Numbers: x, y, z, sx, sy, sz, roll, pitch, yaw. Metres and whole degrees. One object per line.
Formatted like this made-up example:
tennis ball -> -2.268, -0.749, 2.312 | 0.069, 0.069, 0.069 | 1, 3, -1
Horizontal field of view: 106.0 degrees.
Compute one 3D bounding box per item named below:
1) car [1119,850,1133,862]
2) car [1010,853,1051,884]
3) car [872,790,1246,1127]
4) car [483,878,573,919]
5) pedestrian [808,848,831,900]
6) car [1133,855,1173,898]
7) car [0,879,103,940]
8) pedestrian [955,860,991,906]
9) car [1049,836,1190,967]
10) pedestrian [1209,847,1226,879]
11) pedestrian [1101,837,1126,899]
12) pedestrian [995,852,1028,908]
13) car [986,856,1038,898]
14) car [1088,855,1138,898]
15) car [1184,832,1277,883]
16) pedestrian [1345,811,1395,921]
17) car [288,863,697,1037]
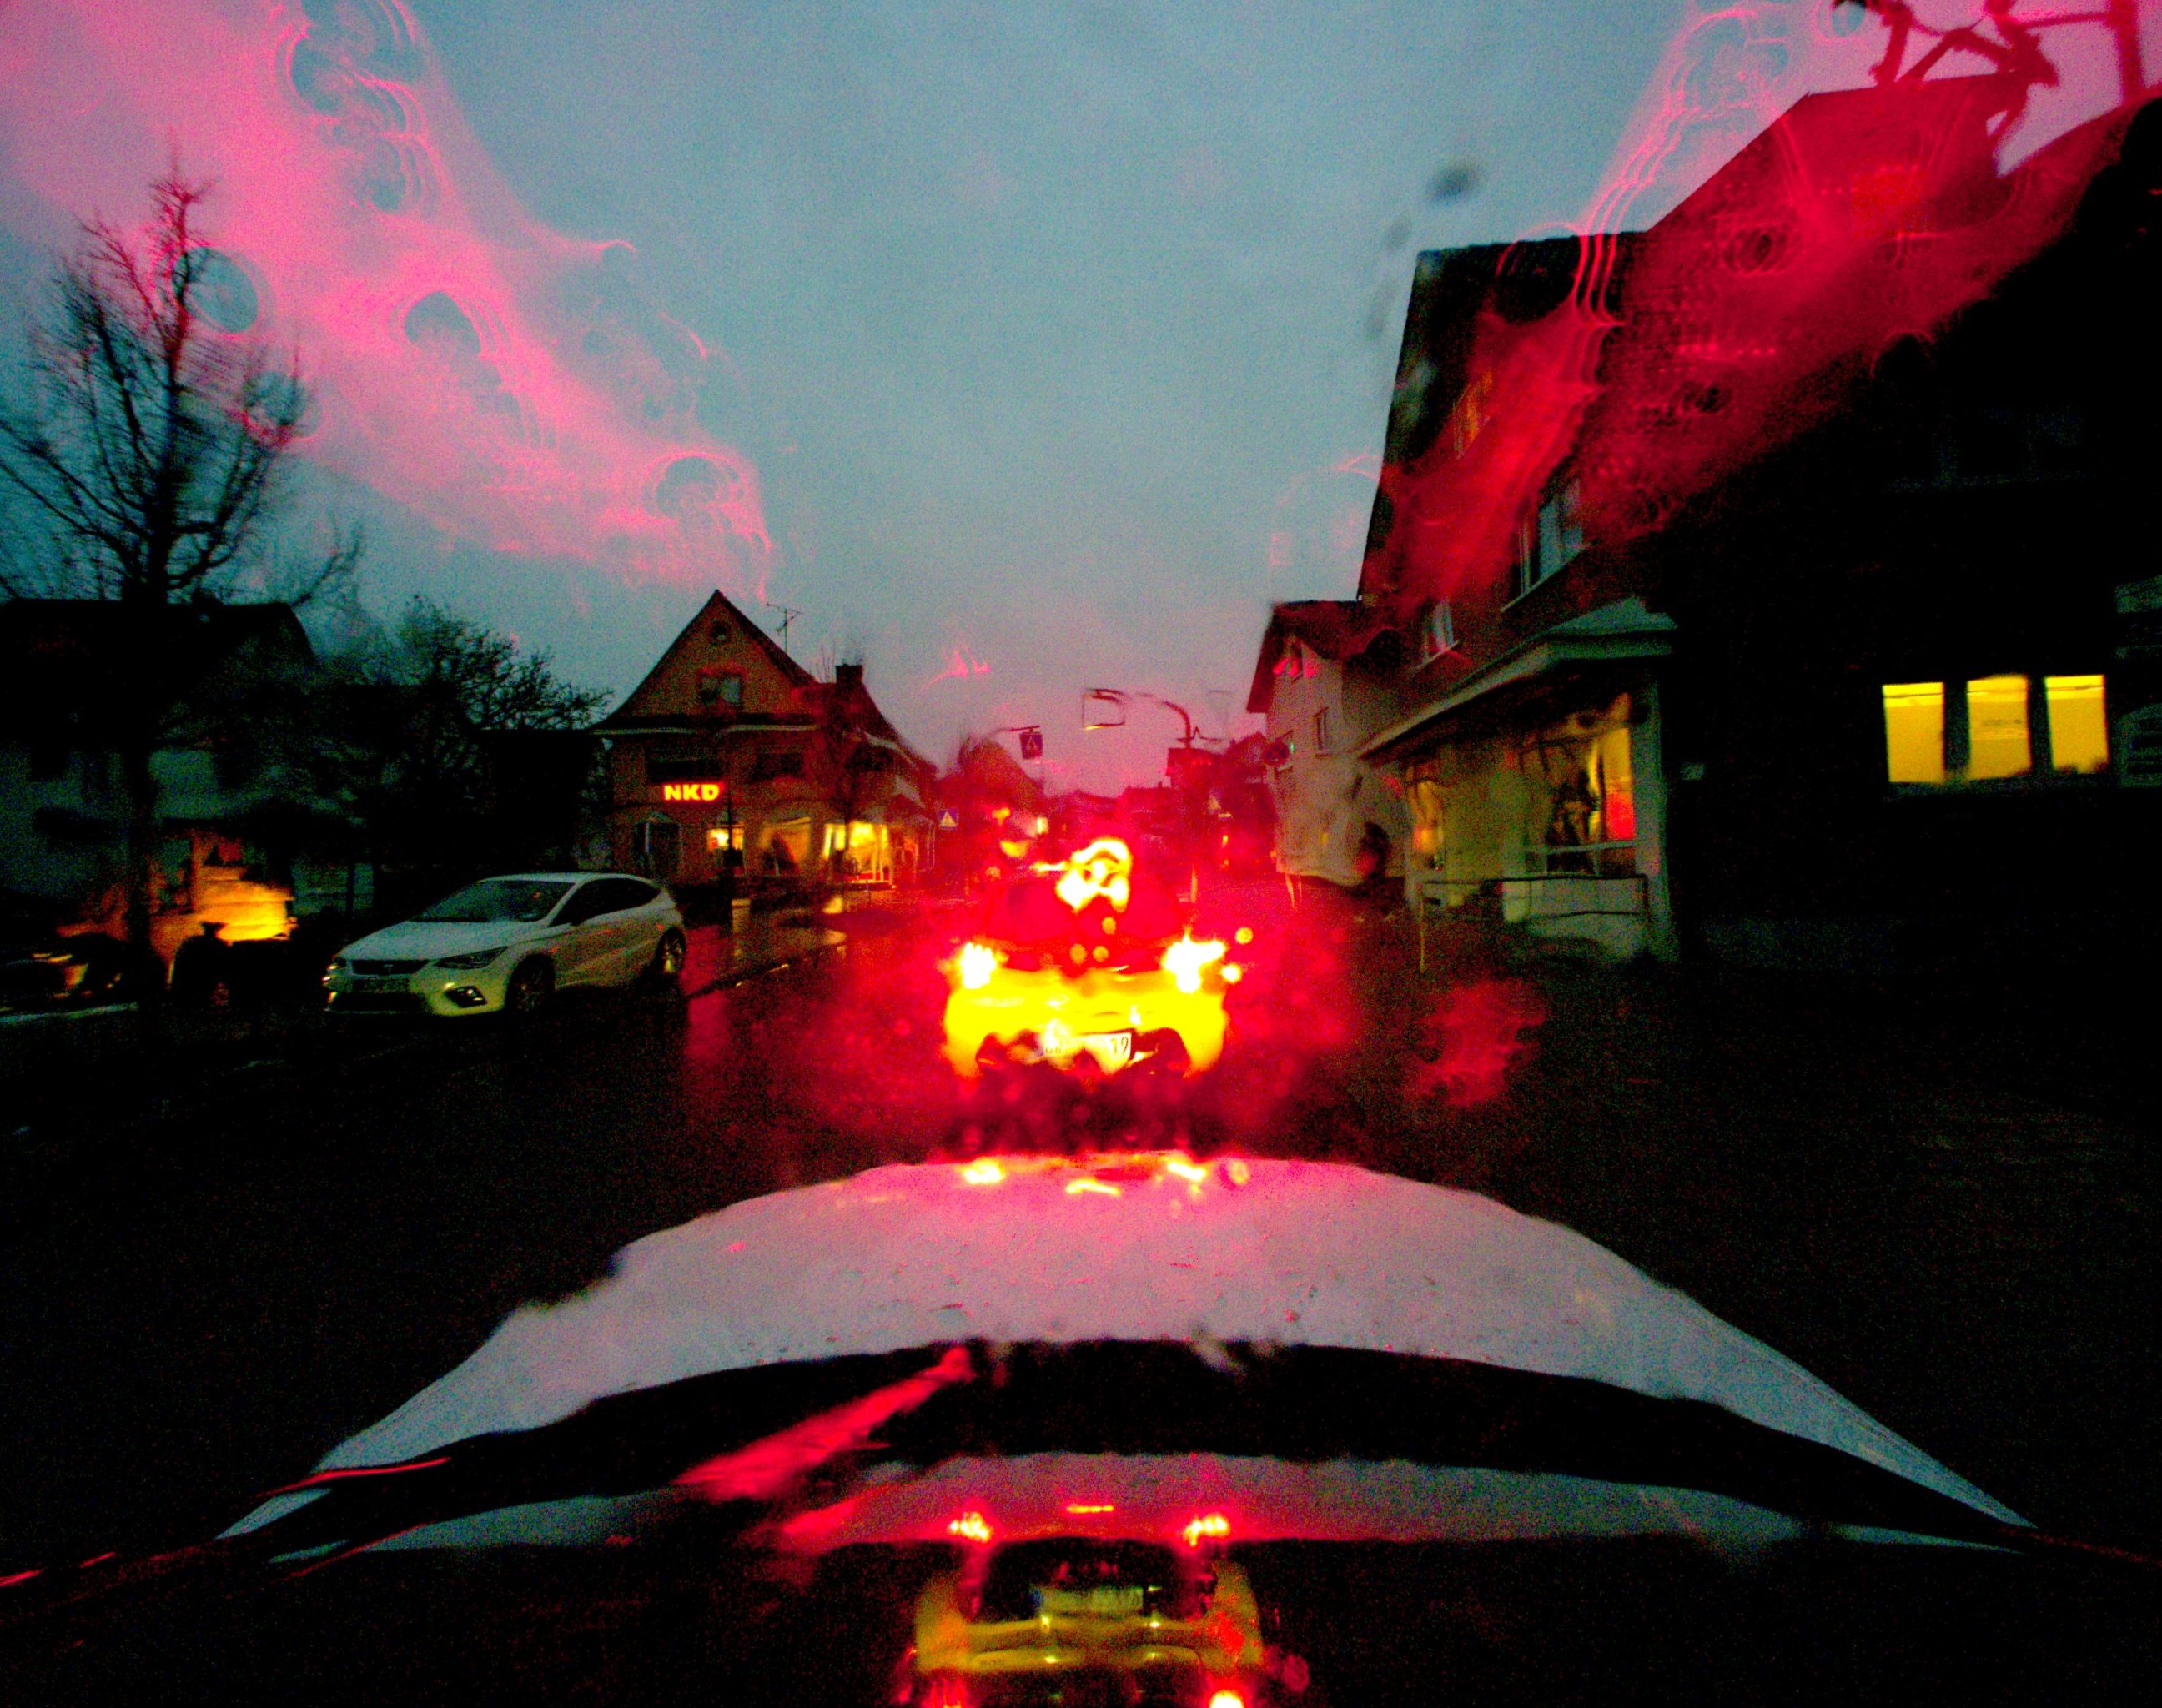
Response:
car -> 5.560, 0.262, 100.920 | 1.527, 1.245, 3.652 | -6, 1, 5
car -> -2.957, 0.823, 48.957 | 1.986, 1.752, 4.363 | -1, 0, 2
car -> 0.063, 0.553, 6.738 | 1.984, 1.795, 4.655 | -2, 1, 5
car -> -25.615, 2.007, 37.884 | 1.848, 1.720, 3.989 | -1, 0, -8
pedestrian -> -8.885, 0.664, 27.666 | 0.587, 1.742, 0.683 | -1, 0, -6
car -> 3.728, 1.127, 42.807 | 1.637, 2.013, 3.999 | -3, 0, -1
car -> -29.437, 1.505, 21.844 | 3.894, 1.519, 1.608 | -1, 0, -12
pedestrian -> -3.559, 0.956, 26.885 | 0.886, 1.417, 0.777 | 5, -1, 6
car -> 0.609, 0.621, 12.436 | 1.790, 1.662, 4.003 | -1, 0, 3
pedestrian -> 8.773, 0.545, 52.502 | 1.011, 2.013, 1.278 | -1, 0, 7
pedestrian -> 0.992, 0.424, 24.906 | 0.701, 1.876, 0.616 | 0, 1, -4
pedestrian -> -2.247, 0.822, 26.287 | 0.970, 1.742, 0.961 | 0, 1, 0
car -> -3.474, 1.119, 41.821 | 1.985, 2.013, 4.366 | -1, 0, 4
car -> 1.374, 0.858, 33.241 | 1.819, 1.601, 4.586 | -1, 0, 4
car -> 6.149, 0.150, 33.785 | 3.679, 2.014, 1.691 | -1, -1, 5
pedestrian -> 5.123, 0.210, 14.471 | 0.659, 1.888, 0.826 | -1, -1, 8
car -> -6.241, 0.881, 9.330 | 1.663, 1.516, 4.002 | 0, 0, 2
